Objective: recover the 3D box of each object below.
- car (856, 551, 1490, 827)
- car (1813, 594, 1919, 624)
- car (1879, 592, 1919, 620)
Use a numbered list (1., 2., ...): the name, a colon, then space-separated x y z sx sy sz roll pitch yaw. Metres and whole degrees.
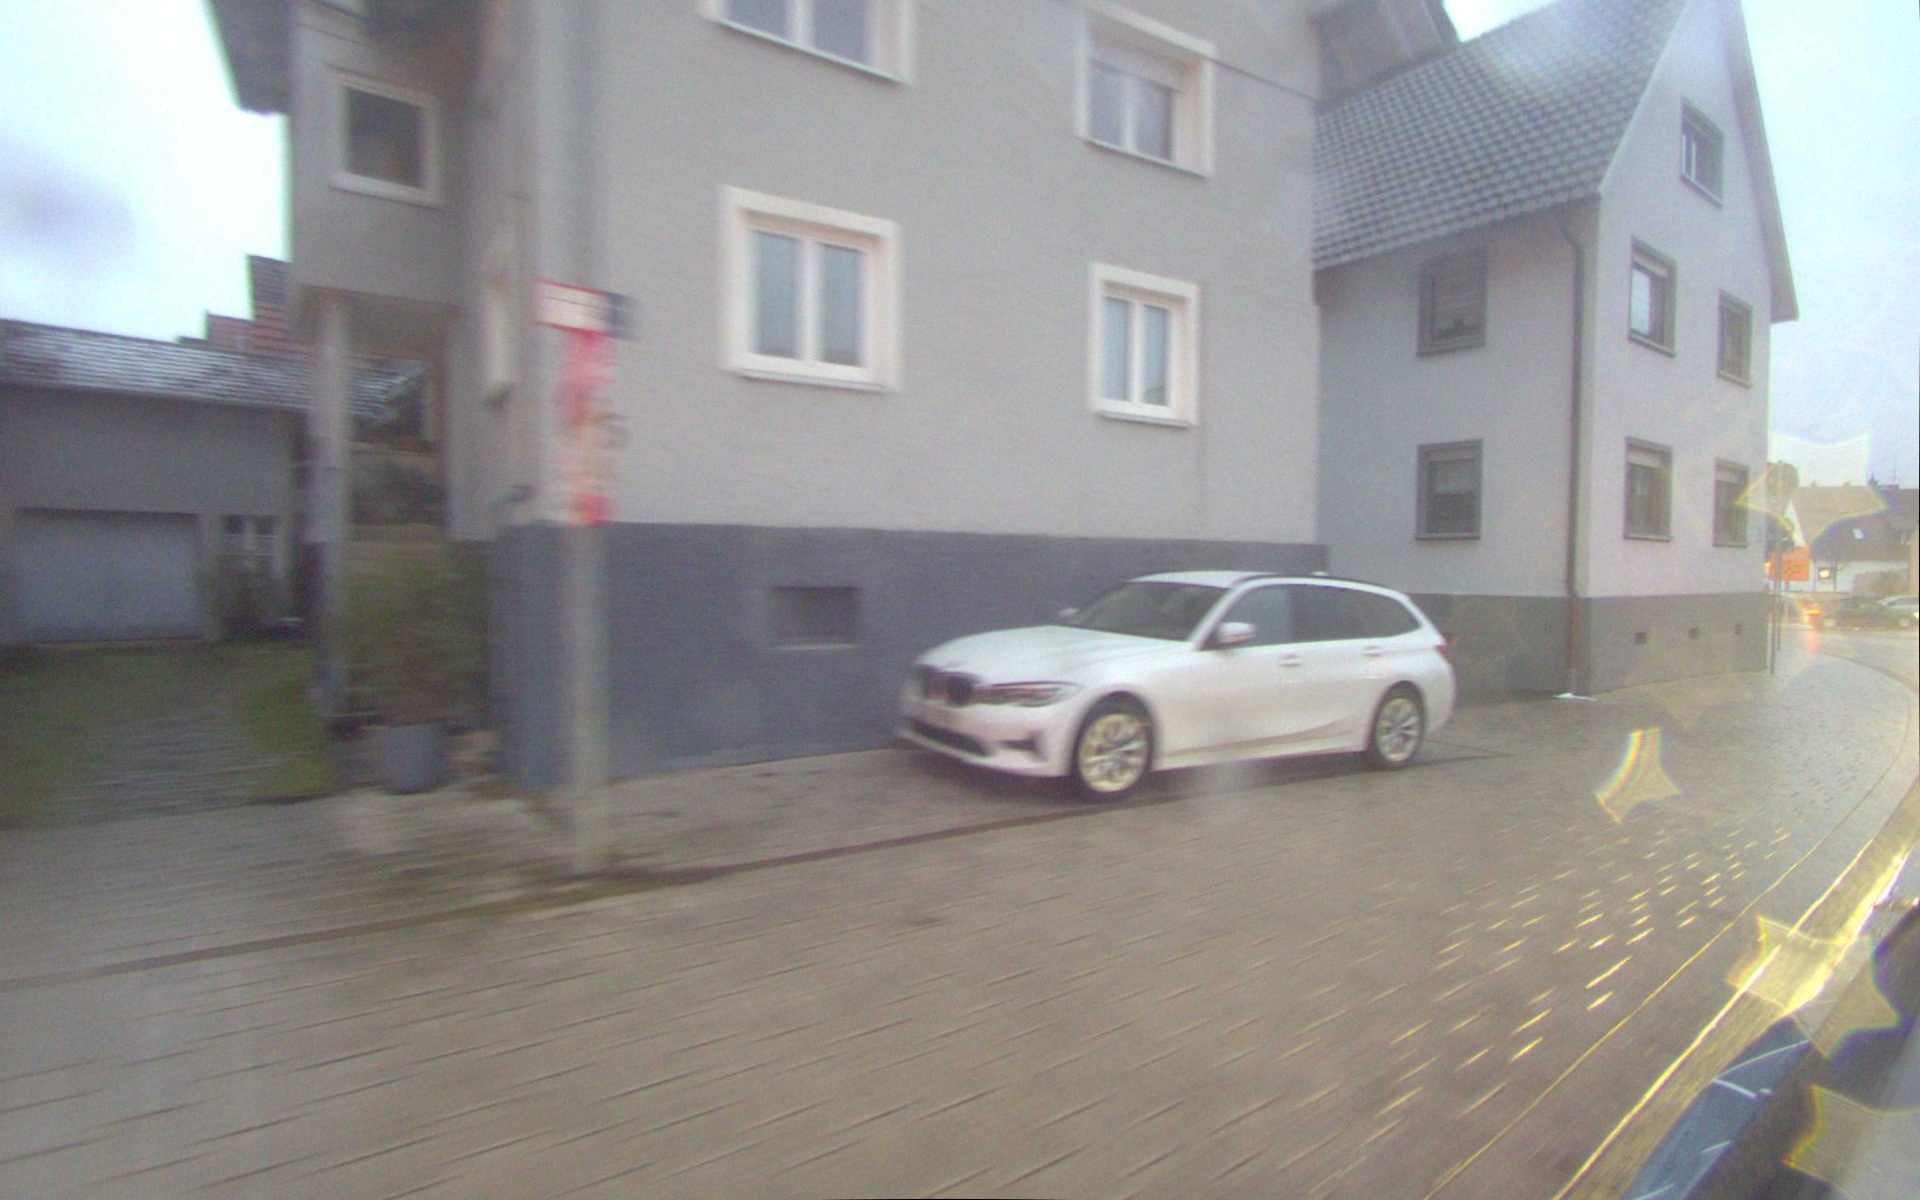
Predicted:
1. car: 1.720 0.478 7.569 4.604 1.504 1.937 0 0 -32
2. car: 41.647 0.393 46.114 3.967 1.315 1.979 0 0 31
3. car: 46.916 0.268 48.233 4.206 1.315 1.981 0 0 28
